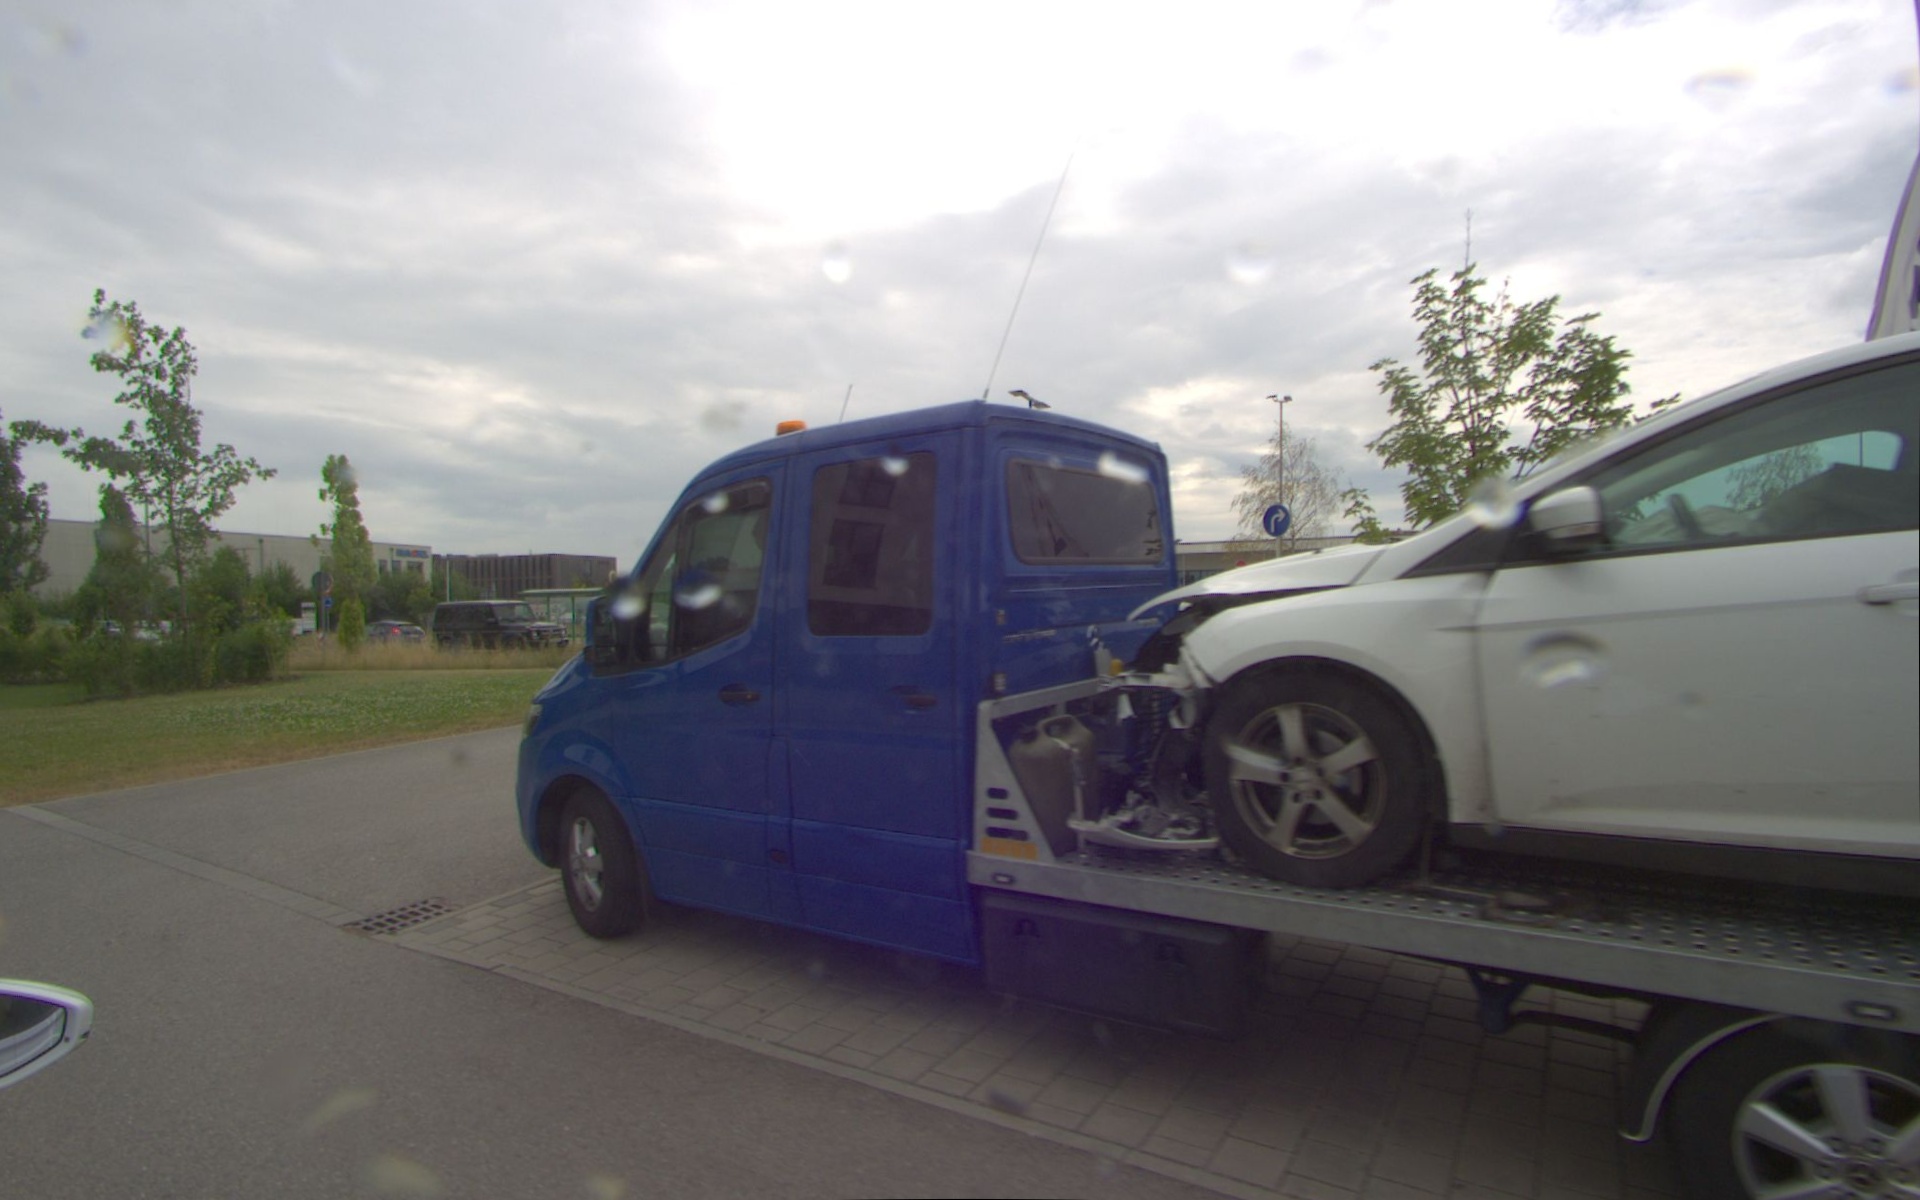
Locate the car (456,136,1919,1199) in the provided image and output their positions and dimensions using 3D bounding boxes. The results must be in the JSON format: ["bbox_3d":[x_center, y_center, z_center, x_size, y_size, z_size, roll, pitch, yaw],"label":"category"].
[{"bbox_3d":[1.208,0.320,3.734,7.753,2.353,2.187,-1,0,36],"label":"car"}]

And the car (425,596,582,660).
[{"bbox_3d":[-14.699,0.853,32.225,4.768,1.949,1.993,0,1,25],"label":"car"}]

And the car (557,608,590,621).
[{"bbox_3d":[-44.040,1.657,114.052,1.650,1.506,3.637,0,0,16],"label":"car"}]

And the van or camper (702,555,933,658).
[{"bbox_3d":[-3.915,0.156,27.325,6.064,2.575,2.189,0,1,25],"label":"van or camper"}]

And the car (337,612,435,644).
[{"bbox_3d":[-25.339,1.221,44.242,3.896,1.360,1.714,0,0,22],"label":"car"}]

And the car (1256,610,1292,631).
[{"bbox_3d":[22.870,1.496,72.854,1.883,1.463,3.985,-1,-1,27],"label":"car"}]
